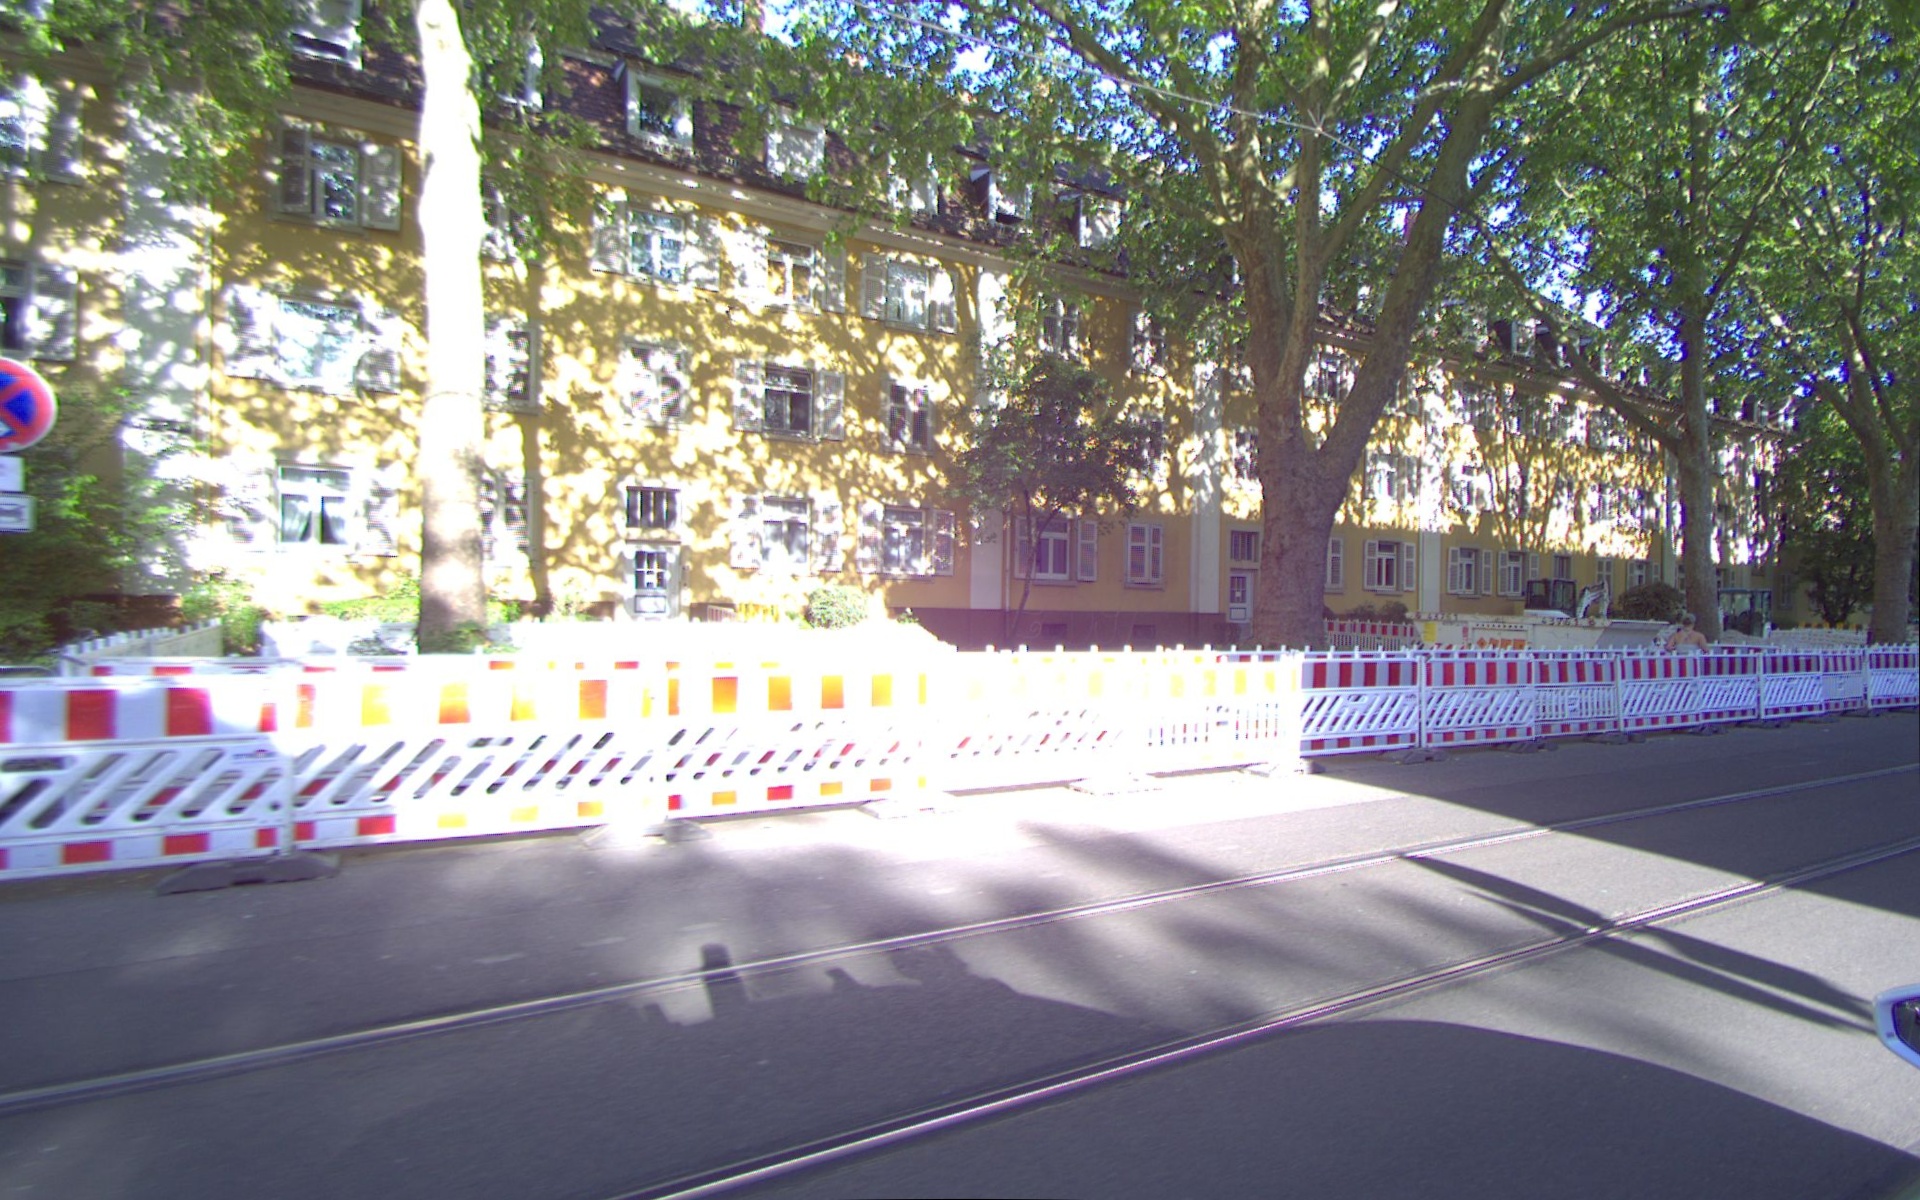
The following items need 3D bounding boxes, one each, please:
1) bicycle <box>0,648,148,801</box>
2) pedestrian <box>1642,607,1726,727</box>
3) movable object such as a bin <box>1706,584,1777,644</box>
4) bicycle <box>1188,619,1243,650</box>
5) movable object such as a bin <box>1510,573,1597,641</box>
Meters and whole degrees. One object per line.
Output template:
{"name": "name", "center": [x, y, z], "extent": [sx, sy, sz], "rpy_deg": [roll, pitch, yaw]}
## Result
{"name": "bicycle", "center": [-7.144, 0.920, 7.982], "extent": [0.717, 0.975, 1.963], "rpy_deg": [1, 0, -29]}
{"name": "pedestrian", "center": [10.725, 0.969, 14.887], "extent": [0.769, 1.691, 0.713], "rpy_deg": [1, 1, -30]}
{"name": "movable object such as a bin", "center": [22.744, 0.408, 29.237], "extent": [1.541, 1.667, 1.092], "rpy_deg": [2, 1, -30]}
{"name": "bicycle", "center": [6.985, 0.939, 27.425], "extent": [1.627, 0.829, 0.503], "rpy_deg": [1, 0, -34]}
{"name": "movable object such as a bin", "center": [17.241, 0.211, 29.180], "extent": [1.984, 1.893, 1.327], "rpy_deg": [2, 1, -30]}
